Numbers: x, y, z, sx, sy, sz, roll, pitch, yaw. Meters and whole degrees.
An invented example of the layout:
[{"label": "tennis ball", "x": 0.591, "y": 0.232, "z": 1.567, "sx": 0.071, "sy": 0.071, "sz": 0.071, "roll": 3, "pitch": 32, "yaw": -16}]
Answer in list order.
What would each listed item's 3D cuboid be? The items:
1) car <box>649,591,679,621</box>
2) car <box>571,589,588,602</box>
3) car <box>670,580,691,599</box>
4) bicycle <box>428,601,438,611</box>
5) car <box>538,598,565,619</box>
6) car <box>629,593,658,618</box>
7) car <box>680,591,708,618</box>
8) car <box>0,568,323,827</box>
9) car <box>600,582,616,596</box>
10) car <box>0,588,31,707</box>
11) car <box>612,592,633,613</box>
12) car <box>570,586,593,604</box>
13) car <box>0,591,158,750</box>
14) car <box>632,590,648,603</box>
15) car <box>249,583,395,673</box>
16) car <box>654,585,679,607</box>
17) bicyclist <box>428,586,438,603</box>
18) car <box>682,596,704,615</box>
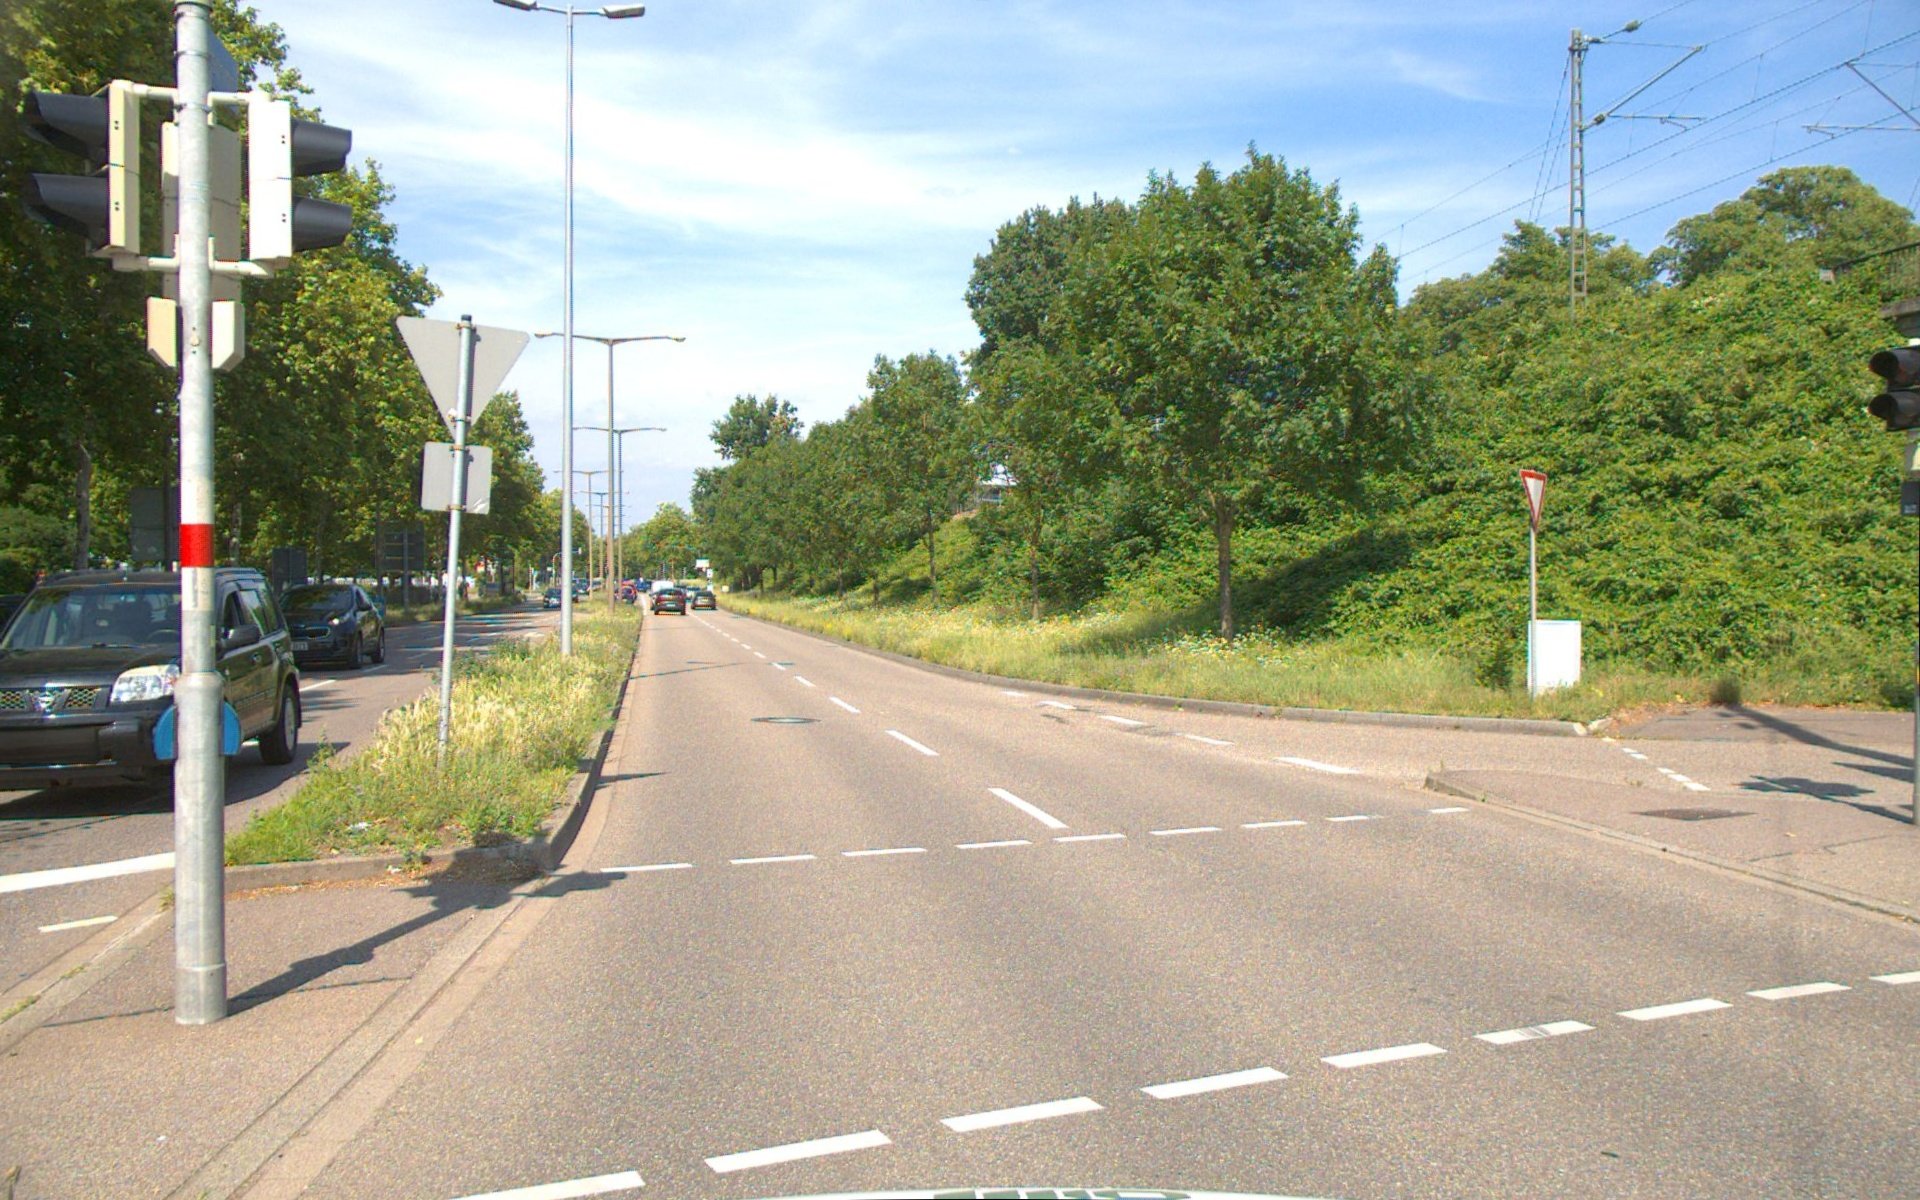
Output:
[{"label": "car", "x": -17.727, "y": 0.359, "z": 99.067, "sx": 1.705, "sy": 1.562, "sz": 3.991, "roll": 1, "pitch": 2, "yaw": -11}, {"label": "car", "x": -43.164, "y": -0.514, "z": 187.705, "sx": 1.807, "sy": 1.504, "sz": 4.154, "roll": -1, "pitch": 0, "yaw": -11}, {"label": "car", "x": -30.848, "y": -1.135, "z": 182.615, "sx": 1.960, "sy": 2.049, "sz": 3.984, "roll": 0, "pitch": 0, "yaw": -15}, {"label": "bicycle", "x": -47.441, "y": 0.505, "z": 148.930, "sx": 0.677, "sy": 0.881, "sz": 1.921, "roll": -1, "pitch": 0, "yaw": -11}, {"label": "car", "x": -30.458, "y": 0.639, "z": 123.417, "sx": 1.795, "sy": 1.493, "sz": 4.972, "roll": 0, "pitch": 0, "yaw": -12}, {"label": "car", "x": -22.591, "y": 0.385, "z": 117.981, "sx": 1.958, "sy": 1.713, "sz": 3.989, "roll": 0, "pitch": 1, "yaw": -11}, {"label": "car", "x": -20.036, "y": 0.334, "z": 124.466, "sx": 1.982, "sy": 1.869, "sz": 3.991, "roll": 1, "pitch": 2, "yaw": -11}, {"label": "car", "x": -6.269, "y": 0.599, "z": 12.830, "sx": 1.776, "sy": 1.643, "sz": 4.477, "roll": -1, "pitch": 1, "yaw": -12}, {"label": "car", "x": -48.803, "y": -1.566, "z": 229.493, "sx": 1.957, "sy": 1.892, "sz": 3.991, "roll": 0, "pitch": 0, "yaw": -10}, {"label": "car", "x": -13.859, "y": 0.683, "z": 21.341, "sx": 1.853, "sy": 1.618, "sz": 4.434, "roll": -2, "pitch": 1, "yaw": -10}, {"label": "car", "x": -26.526, "y": 0.192, "z": 130.071, "sx": 1.597, "sy": 1.509, "sz": 4.037, "roll": 2, "pitch": 0, "yaw": -11}, {"label": "car", "x": -33.371, "y": -0.453, "z": 145.855, "sx": 1.740, "sy": 1.493, "sz": 4.659, "roll": -1, "pitch": 0, "yaw": -10}, {"label": "car", "x": -10.191, "y": 0.687, "z": 17.566, "sx": 1.803, "sy": 1.488, "sz": 4.505, "roll": -2, "pitch": 1, "yaw": -10}, {"label": "car", "x": -40.601, "y": -0.478, "z": 210.016, "sx": 1.958, "sy": 1.691, "sz": 4.236, "roll": 0, "pitch": 0, "yaw": -11}, {"label": "car", "x": -12.709, "y": 0.500, "z": 33.230, "sx": 1.958, "sy": 1.639, "sz": 4.484, "roll": -1, "pitch": 1, "yaw": -11}, {"label": "car", "x": -23.996, "y": -0.336, "z": 135.244, "sx": 1.958, "sy": 1.738, "sz": 4.252, "roll": 0, "pitch": 0, "yaw": -11}, {"label": "bicyclist", "x": -47.448, "y": -0.505, "z": 148.880, "sx": 0.669, "sy": 1.511, "sz": 0.939, "roll": -1, "pitch": 0, "yaw": -11}, {"label": "car", "x": -25.474, "y": 0.532, "z": 157.553, "sx": 1.958, "sy": 1.738, "sz": 4.252, "roll": 0, "pitch": 0, "yaw": -11}]
